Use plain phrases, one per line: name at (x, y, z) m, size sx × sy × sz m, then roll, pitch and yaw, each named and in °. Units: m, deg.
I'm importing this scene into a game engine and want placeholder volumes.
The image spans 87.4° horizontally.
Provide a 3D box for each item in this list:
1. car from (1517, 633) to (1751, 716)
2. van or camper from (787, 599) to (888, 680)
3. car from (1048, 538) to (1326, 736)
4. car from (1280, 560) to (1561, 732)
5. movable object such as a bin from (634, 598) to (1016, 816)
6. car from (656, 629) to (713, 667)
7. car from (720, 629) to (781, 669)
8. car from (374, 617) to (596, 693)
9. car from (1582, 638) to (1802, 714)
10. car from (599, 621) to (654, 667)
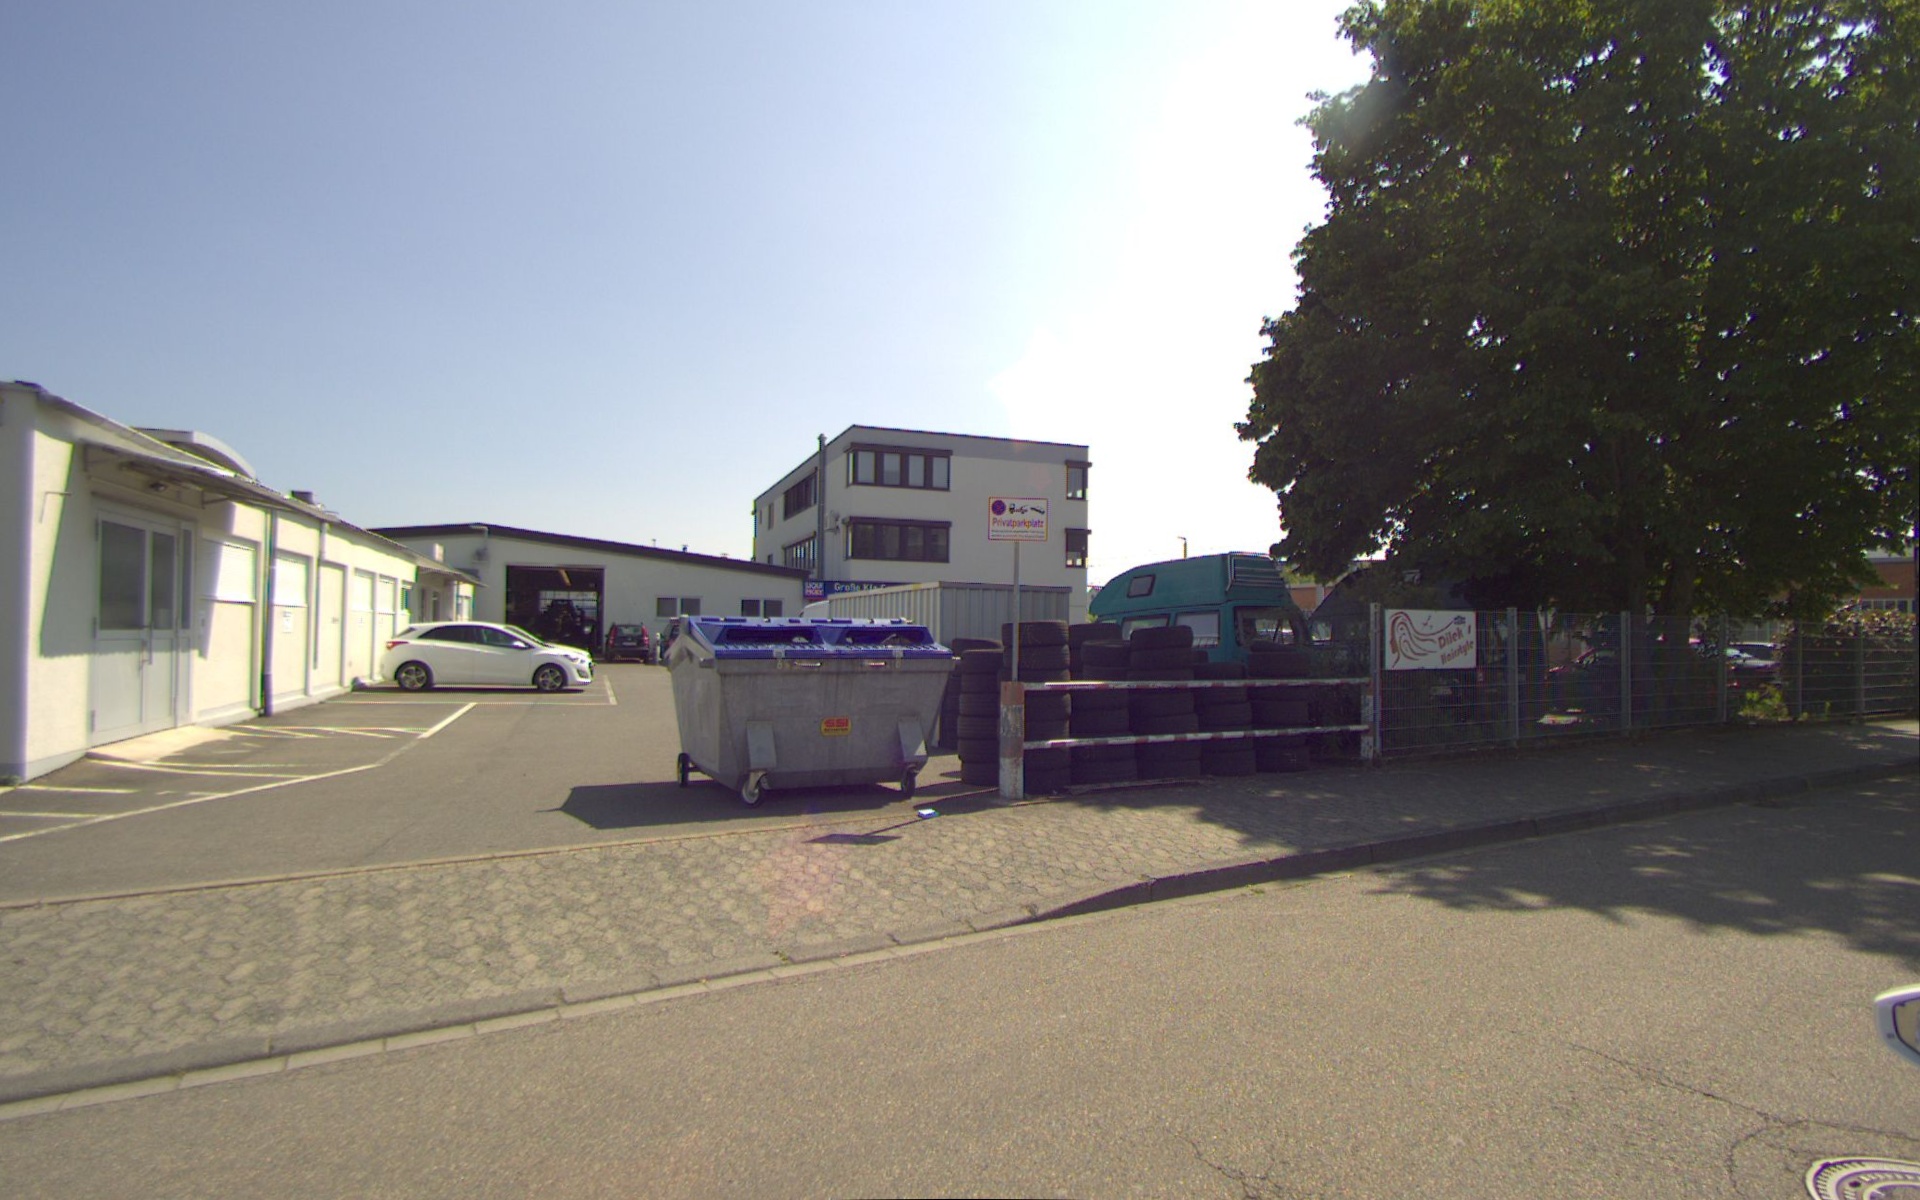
car at (13.704, 1.451, 20.615) m, size 1.716 × 1.497 × 3.643 m, roll 2°, pitch -2°, yaw -30°
van or camper at (-3.969, 1.242, 31.744) m, size 2.090 × 2.354 × 4.770 m, roll 1°, pitch -2°, yaw -21°
car at (3.255, 0.533, 15.155) m, size 1.757 × 2.546 × 4.064 m, roll 2°, pitch -2°, yaw -32°
car at (7.653, 0.738, 17.064) m, size 1.757 × 2.546 × 4.064 m, roll 2°, pitch -2°, yaw -32°
movable object such as a bin at (-1.298, 0.822, 8.839) m, size 2.691 × 1.530 × 2.619 m, roll 1°, pitch -2°, yaw -25°
car at (-11.152, 1.932, 40.546) m, size 1.969 × 1.453 × 3.984 m, roll 1°, pitch -2°, yaw -19°
car at (-8.731, 2.015, 41.715) m, size 1.872 × 1.540 × 3.981 m, roll 1°, pitch -2°, yaw -21°
car at (-10.221, 1.213, 21.981) m, size 4.161 × 1.550 × 1.813 m, roll 2°, pitch -3°, yaw -19°
car at (16.297, 1.630, 22.562) m, size 1.712 × 1.497 × 3.651 m, roll 1°, pitch -2°, yaw -24°
car at (-13.360, 1.749, 40.231) m, size 1.969 × 1.750 × 3.983 m, roll 1°, pitch -2°, yaw -19°
